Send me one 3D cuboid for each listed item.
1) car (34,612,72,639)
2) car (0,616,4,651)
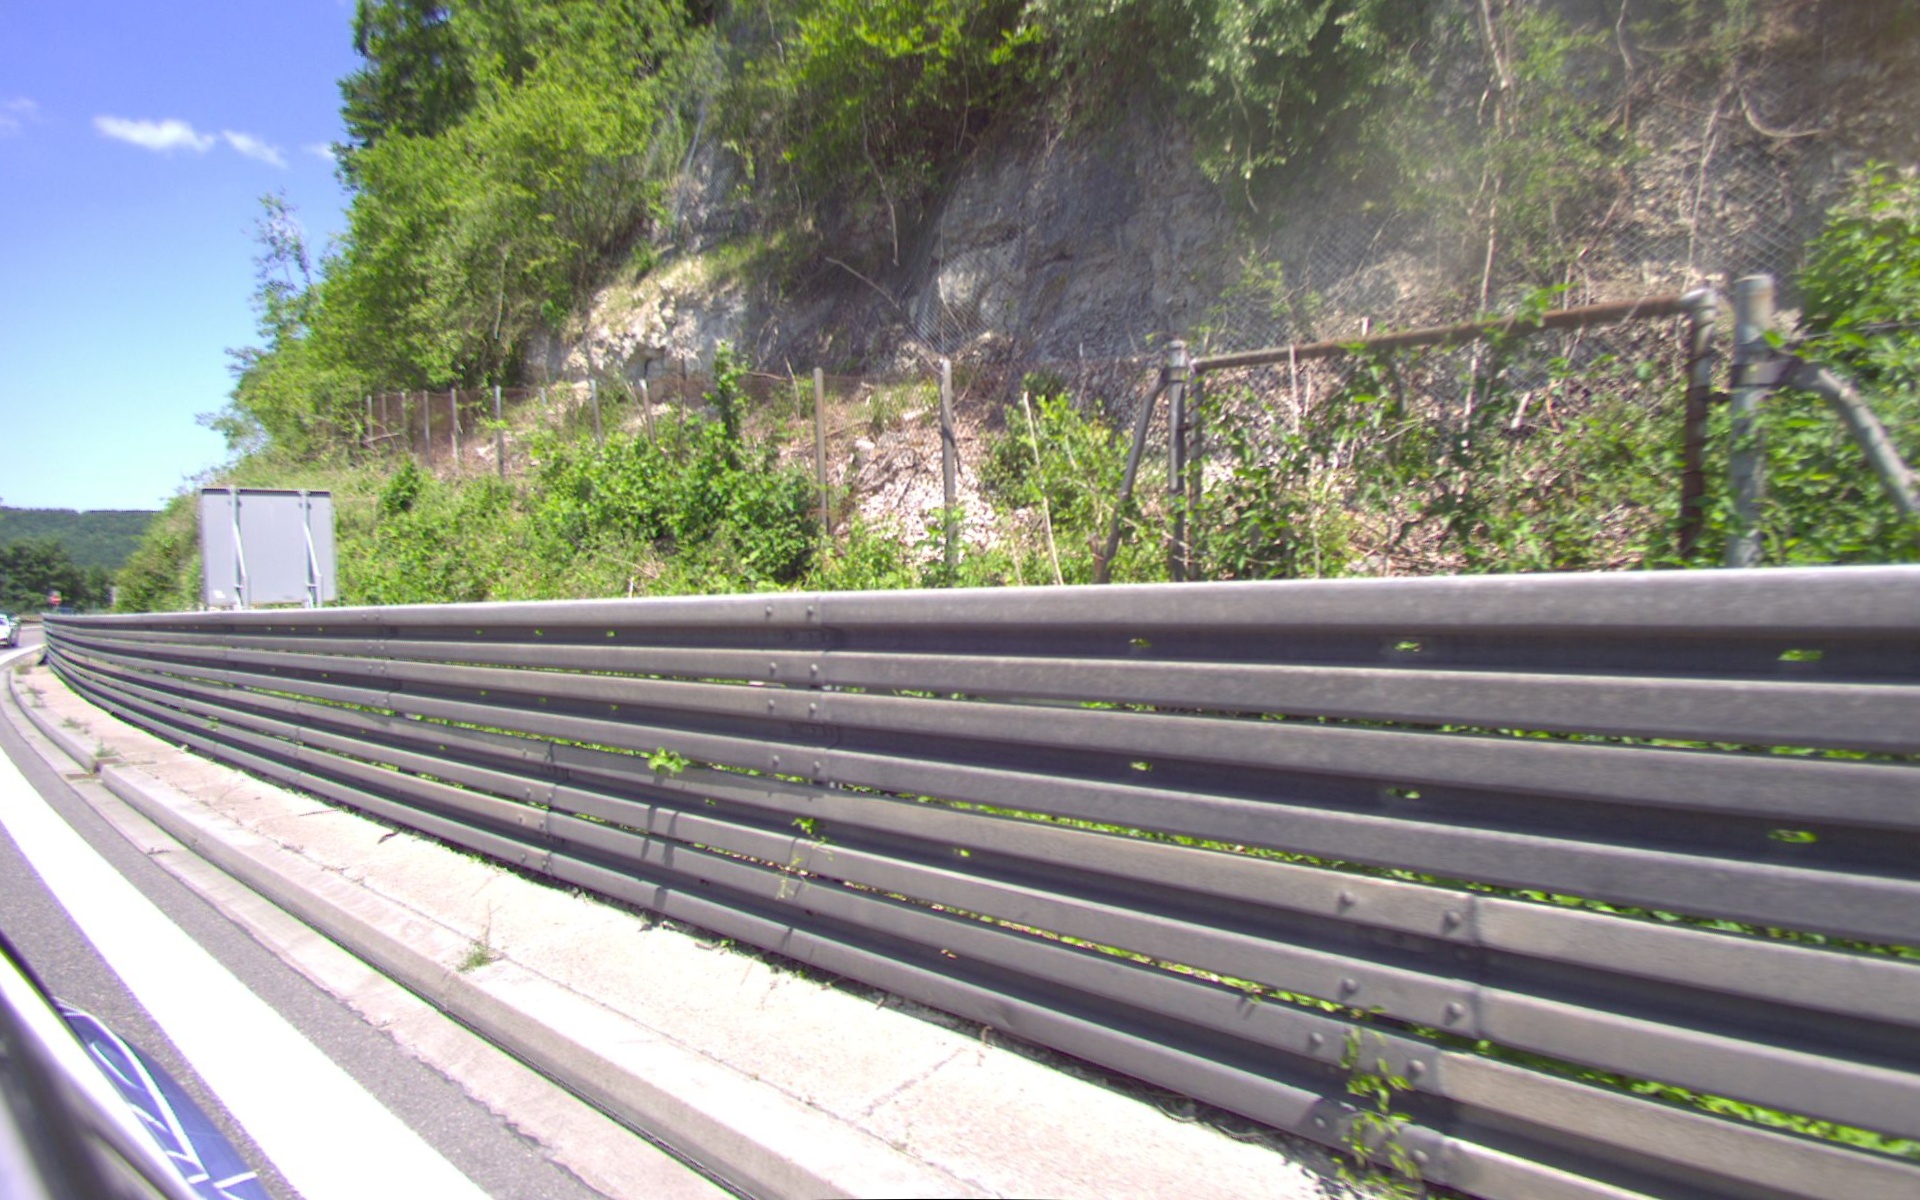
[{"bbox_3d":[-72.217,2.016,80.617,1.968,2.029,4.008,-2,0,-38],"label":"car"},{"bbox_3d":[-42.006,1.435,43.050,4.044,1.451,1.680,-1,0,43],"label":"car"}]
